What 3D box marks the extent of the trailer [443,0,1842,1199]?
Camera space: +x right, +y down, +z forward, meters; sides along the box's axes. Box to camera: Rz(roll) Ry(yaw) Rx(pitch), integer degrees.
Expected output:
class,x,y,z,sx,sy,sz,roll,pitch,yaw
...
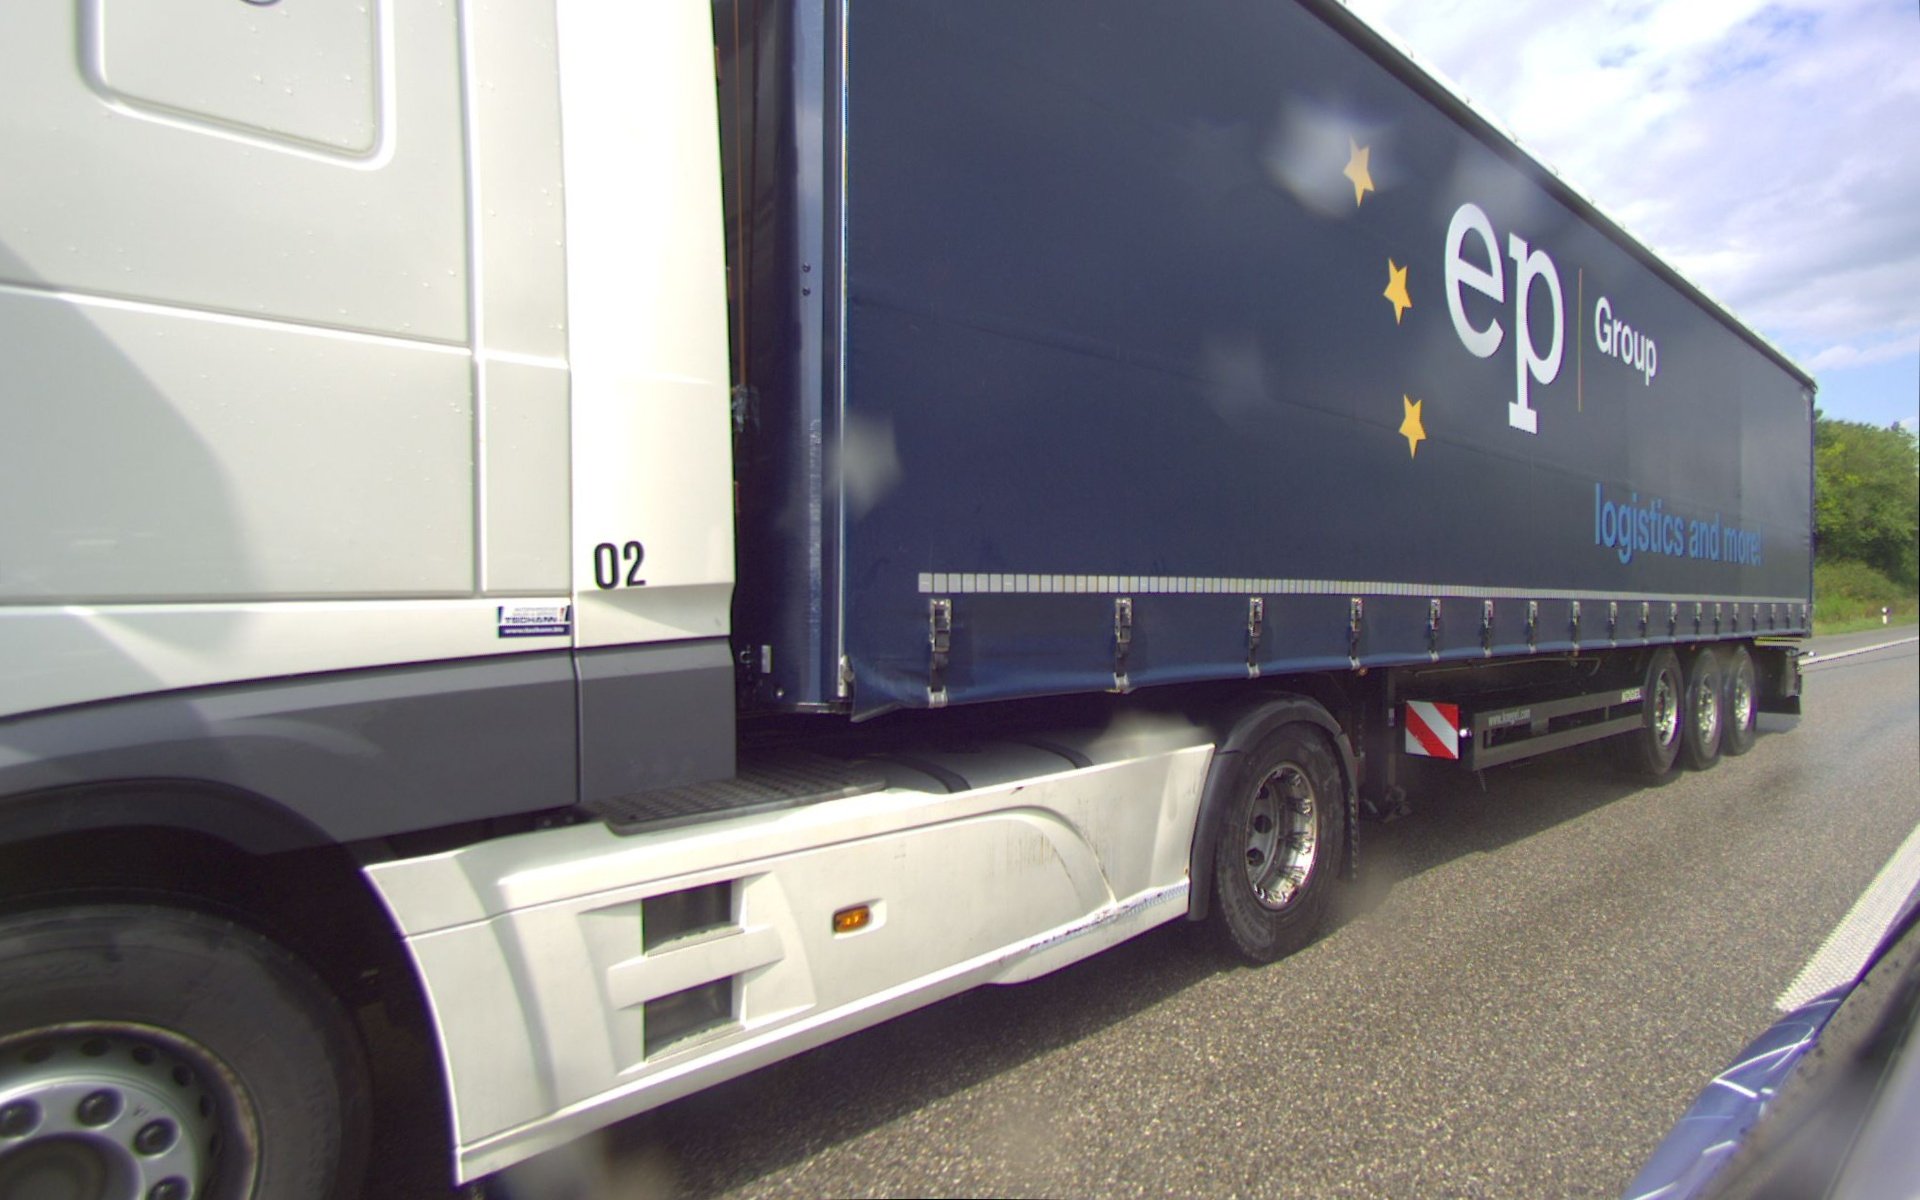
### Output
class,x,y,z,sx,sy,sz,roll,pitch,yaw
trailer,3.858,-0.674,7.850,13.819,4.046,2.639,-1,0,-41

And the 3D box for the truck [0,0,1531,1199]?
class,x,y,z,sx,sy,sz,roll,pitch,yaw
truck,-0.493,-0.645,4.057,7.163,4.046,2.611,-1,0,-41
